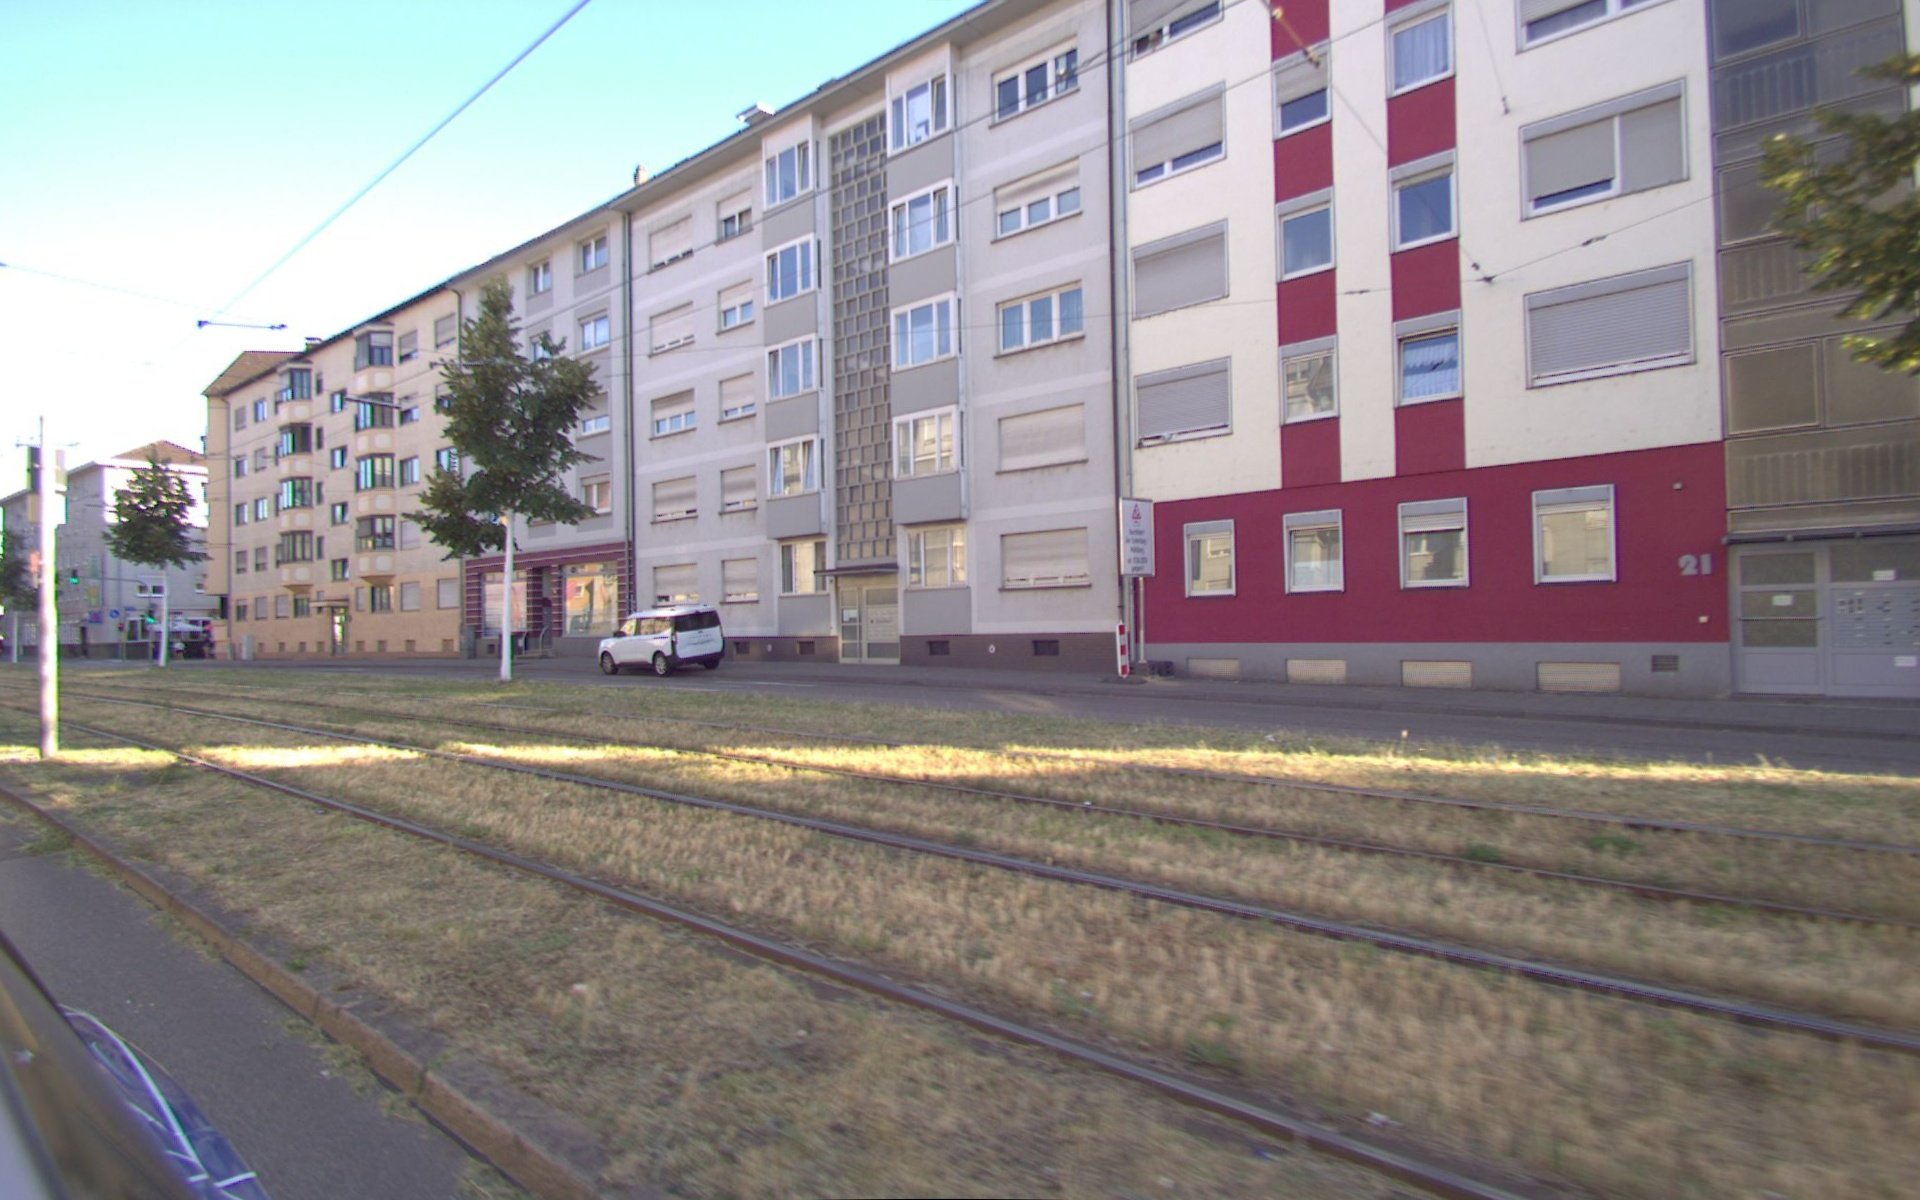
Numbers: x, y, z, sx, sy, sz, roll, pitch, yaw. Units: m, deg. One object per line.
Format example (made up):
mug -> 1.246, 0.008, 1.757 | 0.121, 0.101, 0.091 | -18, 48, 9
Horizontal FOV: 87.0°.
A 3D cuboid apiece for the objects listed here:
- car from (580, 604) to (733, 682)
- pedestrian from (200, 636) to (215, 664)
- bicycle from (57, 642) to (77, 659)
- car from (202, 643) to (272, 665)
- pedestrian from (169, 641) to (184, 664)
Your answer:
car -> -8.616, 1.200, 28.598 | 4.417, 1.842, 1.849 | -2, 5, 40
pedestrian -> -50.247, 3.338, 67.595 | 0.624, 1.784, 0.827 | 0, -2, -23
bicycle -> -73.320, 4.127, 83.115 | 3.230, 1.389, 0.573 | -2, -2, 36
car -> -55.521, 4.111, 77.808 | 1.994, 1.519, 3.955 | -2, -2, 33
pedestrian -> -52.137, 3.472, 67.340 | 0.581, 1.501, 0.617 | -2, -1, 36
